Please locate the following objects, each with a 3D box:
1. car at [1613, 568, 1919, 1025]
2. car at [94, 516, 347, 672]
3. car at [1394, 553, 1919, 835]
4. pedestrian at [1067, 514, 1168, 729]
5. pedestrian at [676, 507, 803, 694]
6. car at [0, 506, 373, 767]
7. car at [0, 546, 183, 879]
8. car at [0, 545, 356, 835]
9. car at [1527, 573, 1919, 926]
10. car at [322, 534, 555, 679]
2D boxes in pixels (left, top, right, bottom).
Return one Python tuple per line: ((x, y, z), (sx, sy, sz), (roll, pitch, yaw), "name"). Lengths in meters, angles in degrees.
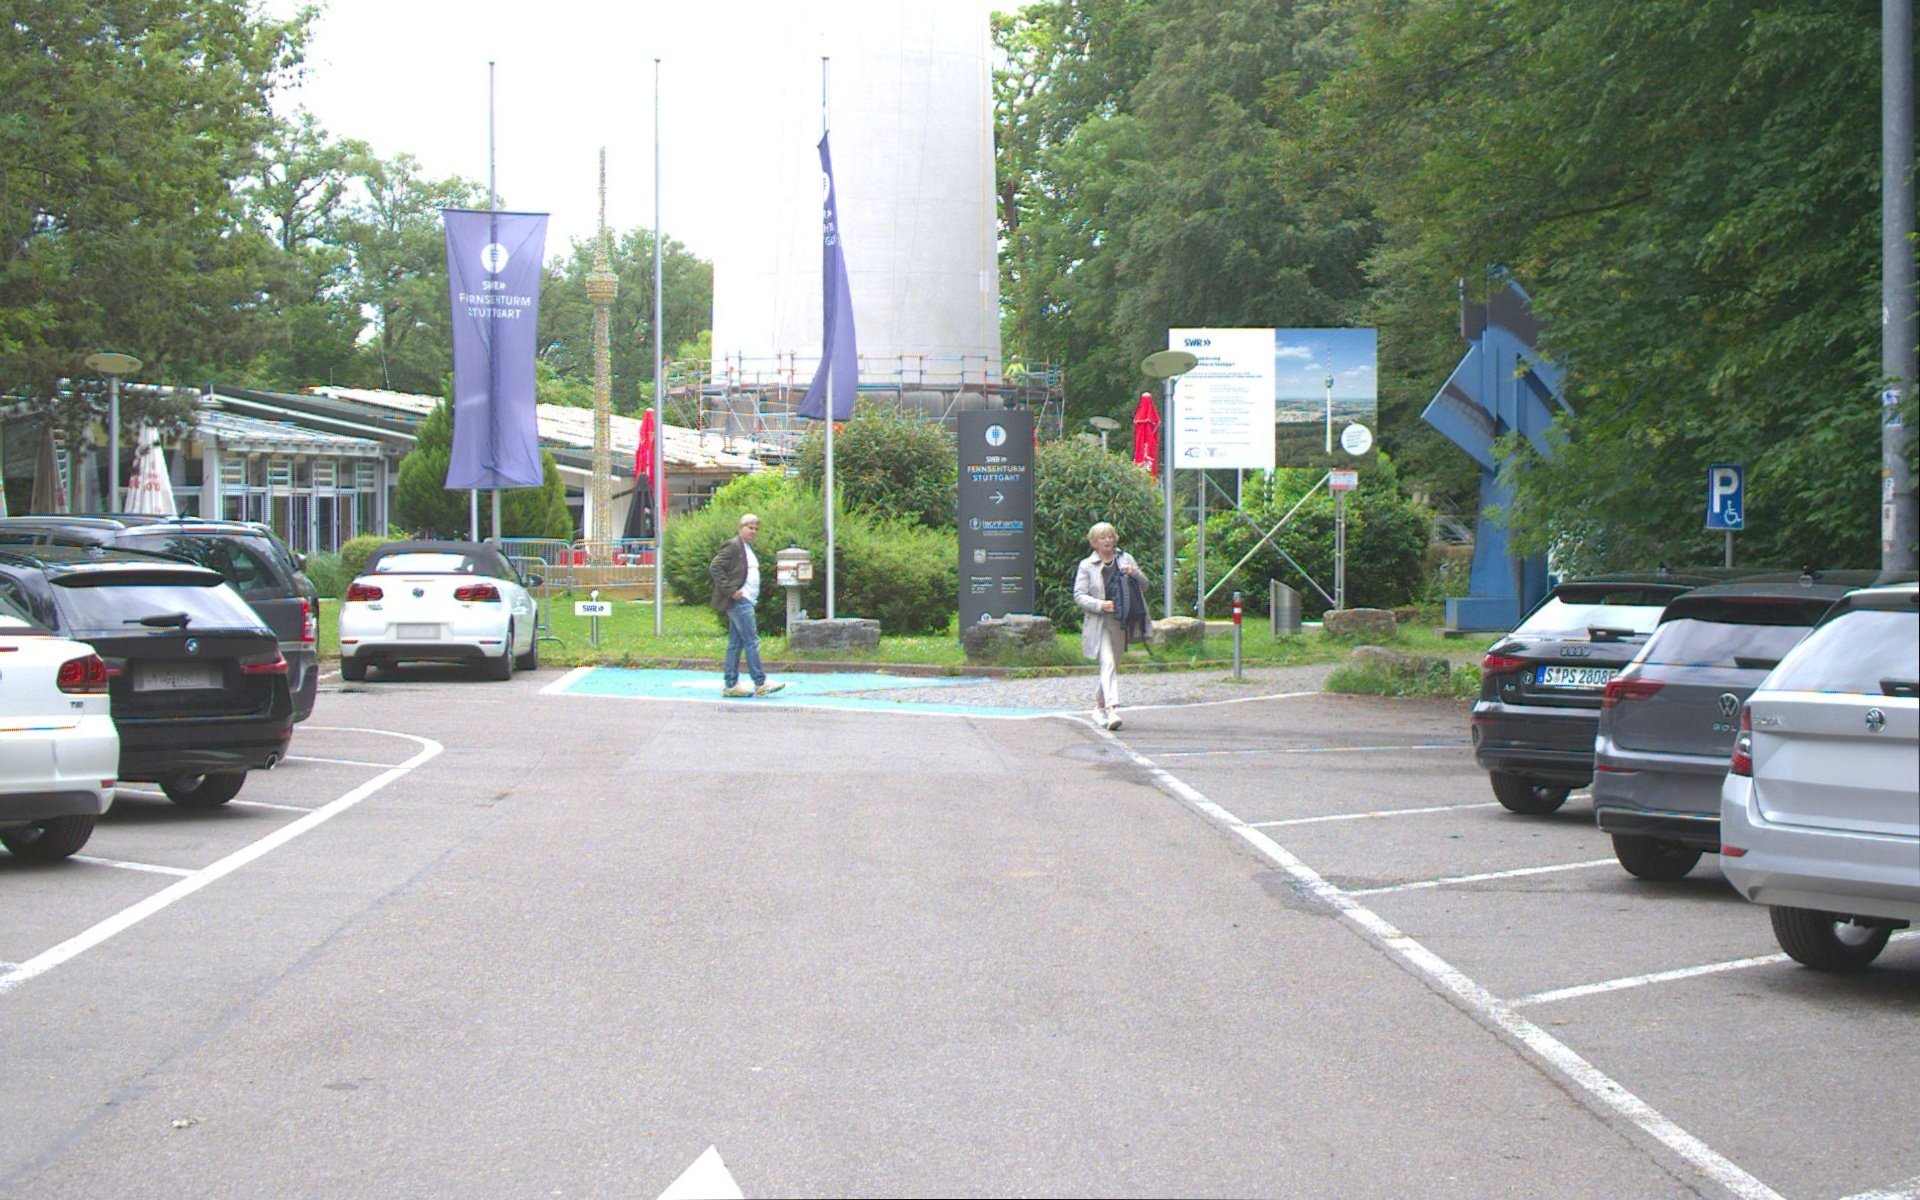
((4.414, 0.626, 12.852), (3.989, 1.462, 1.834), (-1, 2, -42), "car")
((-7.909, -0.105, 37.109), (1.893, 1.579, 4.000), (0, 1, 0), "car")
((4.598, 0.476, 20.258), (1.898, 1.457, 4.194), (2, 2, 44), "car")
((1.281, 0.166, 28.094), (0.762, 1.719, 0.897), (1, 1, 0), "pedestrian")
((-2.067, -0.008, 32.242), (0.895, 1.719, 0.763), (1, 1, 32), "pedestrian")
((-6.085, 0.174, 23.290), (4.384, 1.603, 1.825), (2, 1, 42), "car")
((-5.537, 0.455, 16.338), (3.843, 1.438, 1.768), (2, 1, 44), "car")
((-5.468, 0.418, 19.454), (4.275, 1.438, 1.755), (2, 1, 41), "car")
((4.626, 0.603, 16.332), (1.909, 1.417, 3.990), (2, 2, 43), "car")
((-5.441, 0.027, 36.290), (1.893, 1.423, 4.000), (0, 1, -1), "car")
